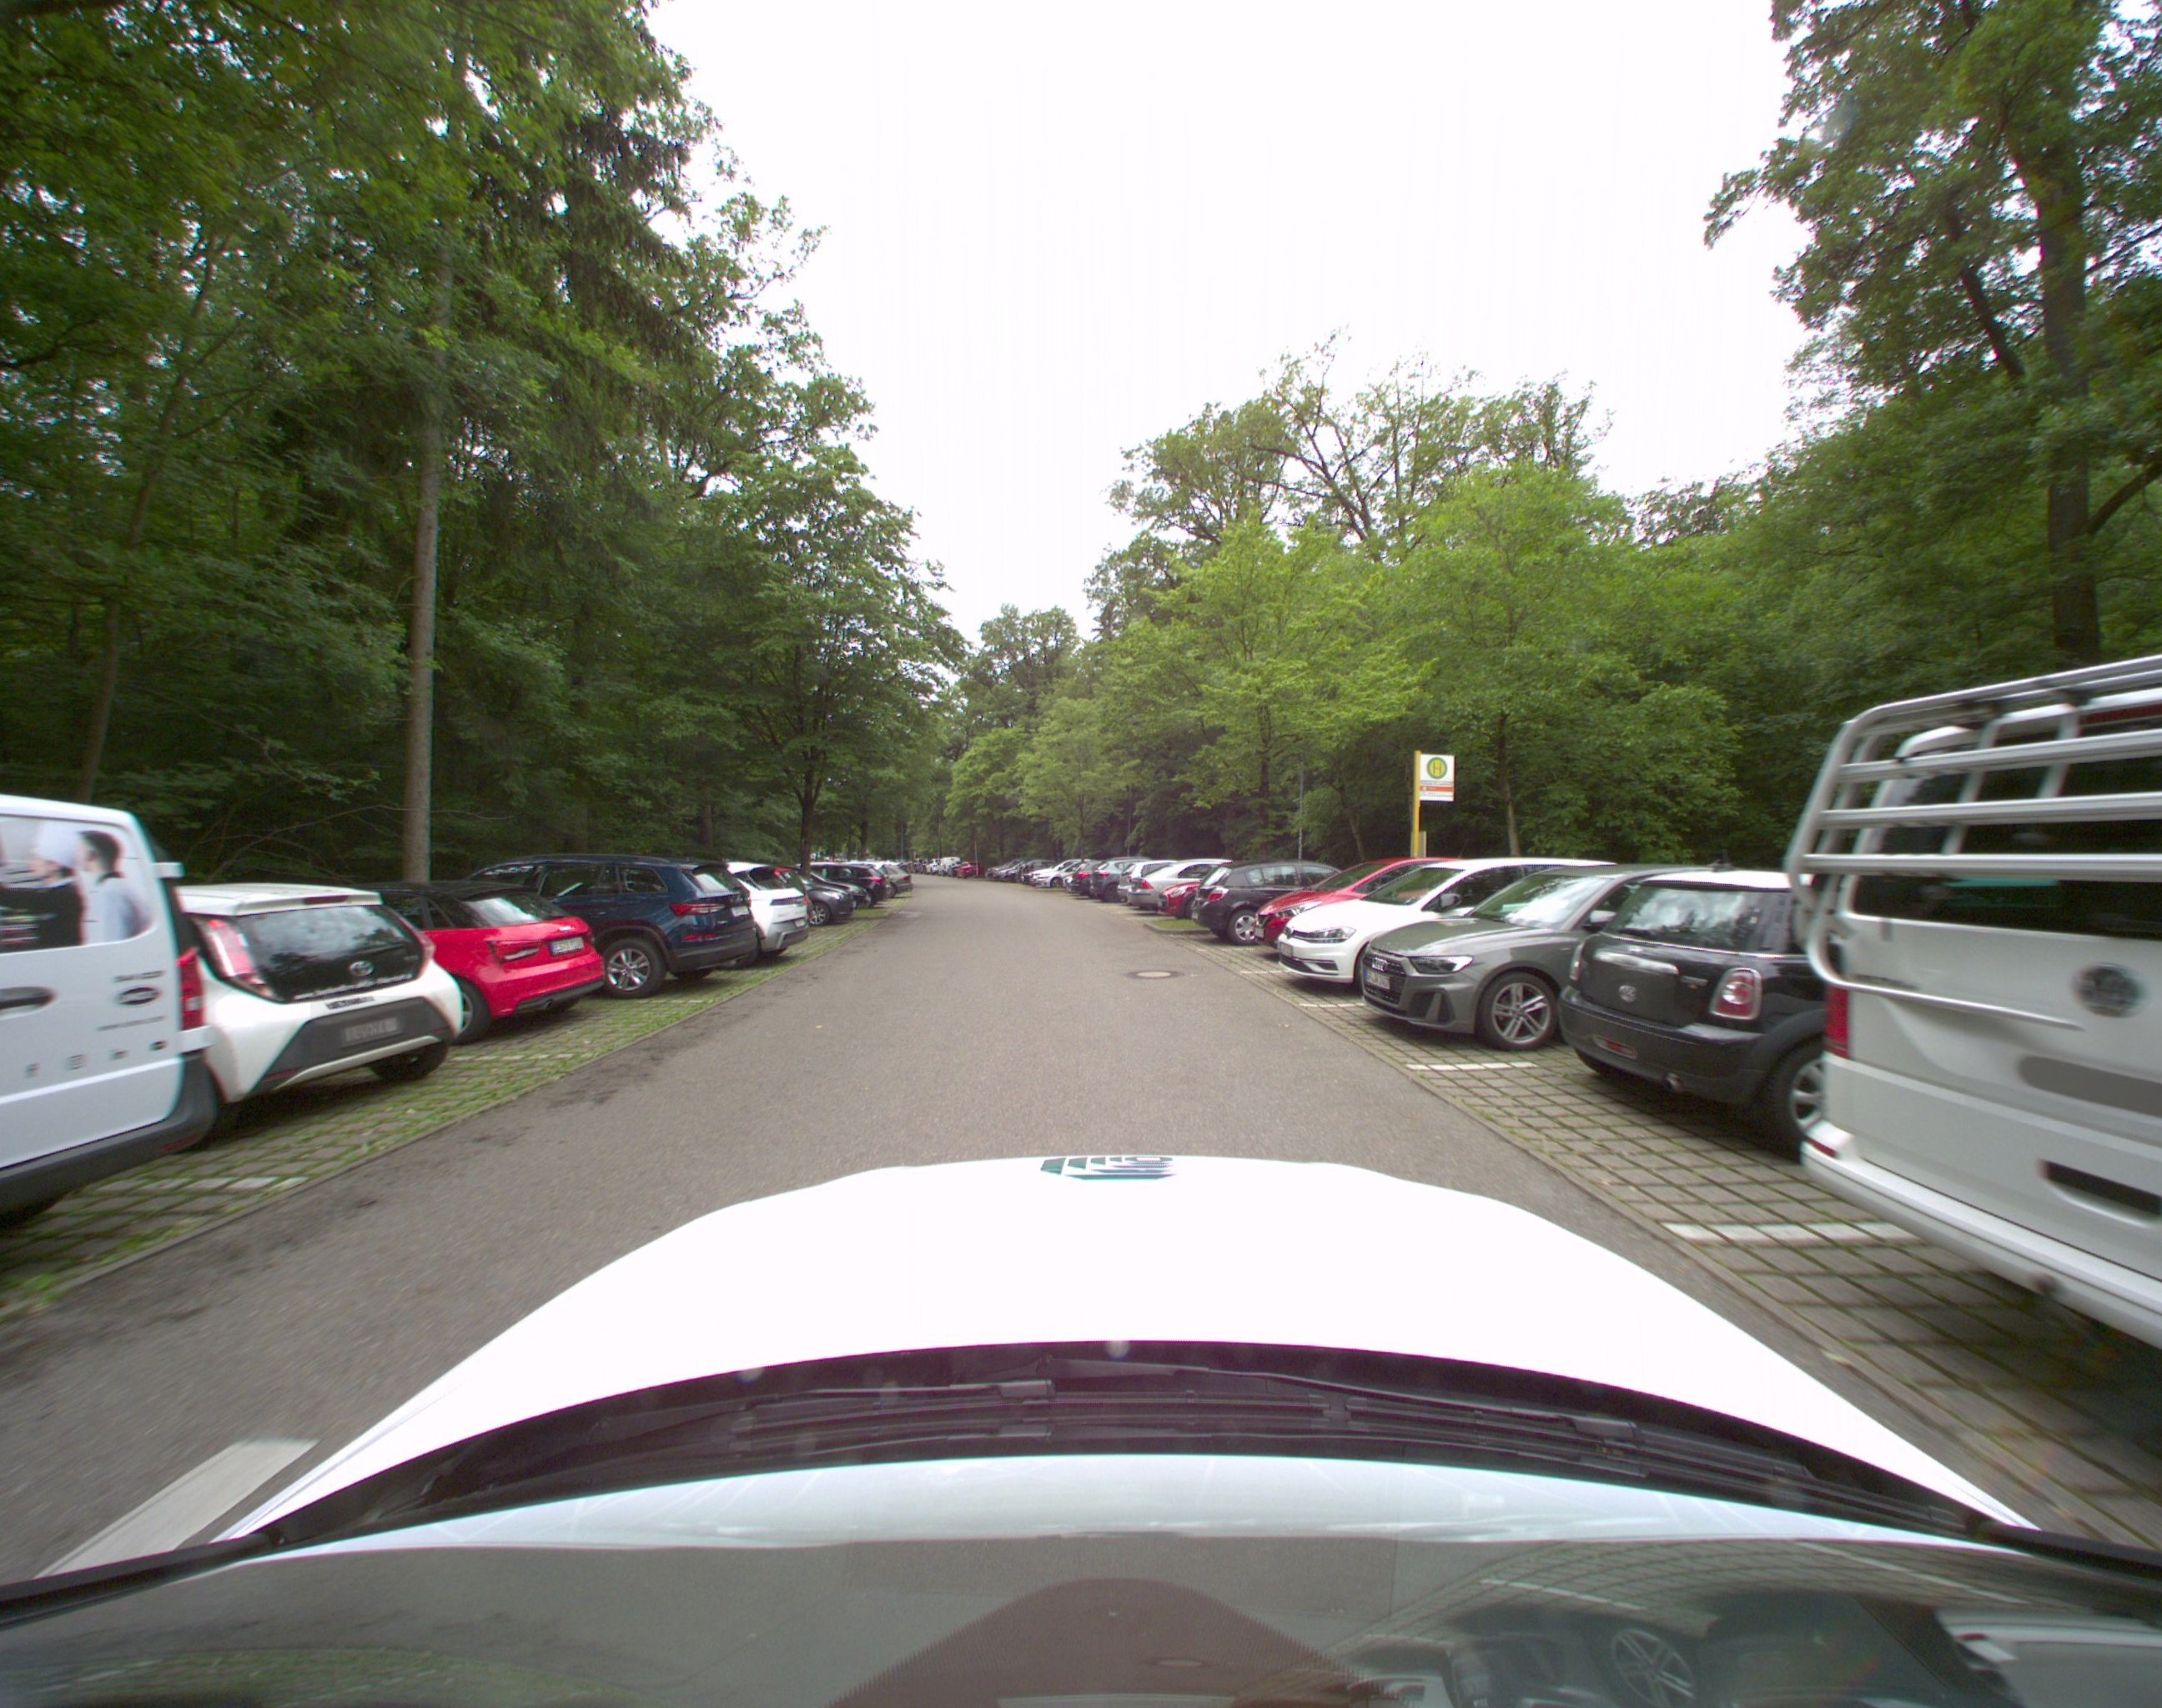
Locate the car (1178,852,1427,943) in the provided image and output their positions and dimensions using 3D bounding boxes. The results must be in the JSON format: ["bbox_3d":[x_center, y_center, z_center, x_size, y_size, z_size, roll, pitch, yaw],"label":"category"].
[{"bbox_3d":[3.923,0.737,14.855,3.980,1.483,1.919,-1,0,-5],"label":"car"}]

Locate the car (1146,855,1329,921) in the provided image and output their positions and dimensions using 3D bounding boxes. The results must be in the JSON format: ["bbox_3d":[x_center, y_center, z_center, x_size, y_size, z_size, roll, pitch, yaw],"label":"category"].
[{"bbox_3d":[3.757,0.778,19.914,3.985,1.450,1.935,-1,0,-9],"label":"car"}]

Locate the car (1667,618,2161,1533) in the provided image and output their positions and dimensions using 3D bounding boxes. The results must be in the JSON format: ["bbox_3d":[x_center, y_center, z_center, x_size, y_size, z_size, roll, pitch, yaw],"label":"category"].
[{"bbox_3d":[4.711,0.530,2.282,4.635,2.021,2.083,1,1,-1],"label":"car"}]

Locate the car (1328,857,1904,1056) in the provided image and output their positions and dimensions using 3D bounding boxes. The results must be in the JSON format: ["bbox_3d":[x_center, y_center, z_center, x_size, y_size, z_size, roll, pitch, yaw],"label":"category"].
[{"bbox_3d":[4.489,0.827,7.269,3.978,1.483,1.875,1,-1,-3],"label":"car"}]

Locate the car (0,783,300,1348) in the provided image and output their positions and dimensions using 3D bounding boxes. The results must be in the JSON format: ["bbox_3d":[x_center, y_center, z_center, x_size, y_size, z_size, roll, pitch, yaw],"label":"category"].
[{"bbox_3d":[-6.210,0.761,2.797,5.069,1.915,1.978,-1,0,0],"label":"car"}]

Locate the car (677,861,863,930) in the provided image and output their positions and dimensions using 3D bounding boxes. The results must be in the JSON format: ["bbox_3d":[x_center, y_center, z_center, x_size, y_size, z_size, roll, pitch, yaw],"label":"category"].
[{"bbox_3d":[-7.573,0.969,20.184,3.986,1.491,1.702,-1,0,-9],"label":"car"}]

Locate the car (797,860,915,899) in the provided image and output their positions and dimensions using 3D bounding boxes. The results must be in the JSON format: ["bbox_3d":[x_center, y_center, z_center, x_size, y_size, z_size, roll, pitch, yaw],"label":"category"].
[{"bbox_3d":[-9.404,1.039,34.474,4.643,1.478,2.086,-1,0,-12],"label":"car"}]

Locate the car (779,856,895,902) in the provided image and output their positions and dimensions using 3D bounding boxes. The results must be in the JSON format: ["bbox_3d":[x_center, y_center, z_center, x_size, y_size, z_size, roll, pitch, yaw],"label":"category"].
[{"bbox_3d":[-9.528,0.942,32.108,4.239,1.647,1.961,-1,0,-14],"label":"car"}]

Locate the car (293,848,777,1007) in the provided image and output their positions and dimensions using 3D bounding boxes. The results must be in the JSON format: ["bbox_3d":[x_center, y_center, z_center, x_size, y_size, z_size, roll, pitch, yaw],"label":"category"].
[{"bbox_3d":[-6.356,0.787,10.010,4.414,1.694,2.169,0,0,-3],"label":"car"}]

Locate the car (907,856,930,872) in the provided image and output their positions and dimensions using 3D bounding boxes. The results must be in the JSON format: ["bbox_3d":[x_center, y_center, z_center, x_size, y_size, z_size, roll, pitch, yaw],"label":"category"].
[{"bbox_3d":[-19.069,1.152,95.537,1.897,1.747,4.913,0,0,-21],"label":"car"}]

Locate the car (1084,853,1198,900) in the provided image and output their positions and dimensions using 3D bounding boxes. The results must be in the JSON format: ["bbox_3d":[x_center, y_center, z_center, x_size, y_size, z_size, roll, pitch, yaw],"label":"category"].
[{"bbox_3d":[2.111,0.793,29.415,3.768,1.589,1.943,0,0,-10],"label":"car"}]

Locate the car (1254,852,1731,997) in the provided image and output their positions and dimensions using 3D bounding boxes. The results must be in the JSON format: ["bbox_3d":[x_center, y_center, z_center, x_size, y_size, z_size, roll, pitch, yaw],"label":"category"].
[{"bbox_3d":[4.624,0.743,9.640,4.759,1.476,1.852,-1,1,-2],"label":"car"}]

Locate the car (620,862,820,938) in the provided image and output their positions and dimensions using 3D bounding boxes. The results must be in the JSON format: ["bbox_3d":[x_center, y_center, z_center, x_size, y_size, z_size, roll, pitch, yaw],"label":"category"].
[{"bbox_3d":[-7.736,0.959,17.729,3.601,1.474,1.671,-1,0,-5],"label":"car"}]

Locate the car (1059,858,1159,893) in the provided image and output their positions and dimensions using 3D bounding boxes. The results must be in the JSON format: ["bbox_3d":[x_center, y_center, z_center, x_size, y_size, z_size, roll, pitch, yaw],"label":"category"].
[{"bbox_3d":[1.165,0.887,34.820,3.935,1.411,1.870,0,0,-12],"label":"car"}]

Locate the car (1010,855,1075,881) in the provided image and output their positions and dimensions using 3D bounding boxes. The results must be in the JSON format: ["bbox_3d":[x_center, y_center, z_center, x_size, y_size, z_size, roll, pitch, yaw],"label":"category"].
[{"bbox_3d":[-2.460,0.849,51.891,3.835,1.531,1.841,-1,0,-16],"label":"car"}]

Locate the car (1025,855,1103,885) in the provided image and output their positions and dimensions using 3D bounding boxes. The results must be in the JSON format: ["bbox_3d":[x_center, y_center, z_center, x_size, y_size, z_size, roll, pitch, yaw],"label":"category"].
[{"bbox_3d":[-0.966,0.863,44.640,4.012,1.559,1.969,0,0,-12],"label":"car"}]

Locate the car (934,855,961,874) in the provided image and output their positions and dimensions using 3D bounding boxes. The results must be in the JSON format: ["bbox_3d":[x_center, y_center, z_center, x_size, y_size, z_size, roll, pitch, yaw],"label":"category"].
[{"bbox_3d":[-12.975,0.986,78.947,1.751,1.780,4.519,0,0,-21],"label":"car"}]

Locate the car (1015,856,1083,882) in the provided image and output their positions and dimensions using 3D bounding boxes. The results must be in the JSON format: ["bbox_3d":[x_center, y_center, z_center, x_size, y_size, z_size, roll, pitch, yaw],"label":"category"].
[{"bbox_3d":[-1.952,0.906,49.719,3.834,1.457,1.799,-1,-1,-15],"label":"car"}]

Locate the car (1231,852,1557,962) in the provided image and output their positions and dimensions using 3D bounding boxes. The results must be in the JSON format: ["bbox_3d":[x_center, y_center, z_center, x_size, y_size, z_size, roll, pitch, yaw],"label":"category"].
[{"bbox_3d":[4.590,0.732,12.341,4.221,1.480,1.916,0,0,-5],"label":"car"}]

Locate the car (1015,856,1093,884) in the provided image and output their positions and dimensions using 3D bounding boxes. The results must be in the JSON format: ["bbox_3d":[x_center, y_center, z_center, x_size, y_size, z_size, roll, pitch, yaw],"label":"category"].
[{"bbox_3d":[-1.597,0.920,47.080,4.197,1.512,1.882,0,0,-17],"label":"car"}]

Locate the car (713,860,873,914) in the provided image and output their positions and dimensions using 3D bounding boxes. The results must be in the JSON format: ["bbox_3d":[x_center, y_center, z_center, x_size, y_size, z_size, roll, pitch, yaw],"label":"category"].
[{"bbox_3d":[-8.471,0.952,24.295,4.232,1.473,1.715,-1,-1,-9],"label":"car"}]

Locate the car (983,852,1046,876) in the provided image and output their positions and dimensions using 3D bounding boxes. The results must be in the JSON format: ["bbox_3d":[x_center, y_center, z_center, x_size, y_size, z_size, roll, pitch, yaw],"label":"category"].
[{"bbox_3d":[-4.832,0.683,59.272,4.276,1.666,1.947,0,0,-17],"label":"car"}]

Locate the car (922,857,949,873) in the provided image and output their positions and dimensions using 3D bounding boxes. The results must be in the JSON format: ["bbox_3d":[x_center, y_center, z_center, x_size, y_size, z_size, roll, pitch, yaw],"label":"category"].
[{"bbox_3d":[-15.168,1.109,84.711,1.793,1.662,4.683,0,0,-22],"label":"car"}]

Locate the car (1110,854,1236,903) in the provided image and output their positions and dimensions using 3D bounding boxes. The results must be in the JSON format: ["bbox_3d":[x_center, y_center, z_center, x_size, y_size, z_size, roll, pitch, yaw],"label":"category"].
[{"bbox_3d":[3.016,0.783,27.080,3.844,1.546,1.724,-1,0,-11],"label":"car"}]

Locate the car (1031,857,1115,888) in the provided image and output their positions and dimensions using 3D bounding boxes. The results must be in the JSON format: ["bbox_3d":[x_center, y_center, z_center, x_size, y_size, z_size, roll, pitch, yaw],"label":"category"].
[{"bbox_3d":[-0.426,0.919,42.170,3.985,1.483,1.873,0,0,-17],"label":"car"}]

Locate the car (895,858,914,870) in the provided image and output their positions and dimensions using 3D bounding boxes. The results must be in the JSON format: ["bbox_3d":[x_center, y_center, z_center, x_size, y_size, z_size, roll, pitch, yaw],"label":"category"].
[{"bbox_3d":[-22.892,1.325,105.365,1.644,1.477,4.119,0,0,-23],"label":"car"}]

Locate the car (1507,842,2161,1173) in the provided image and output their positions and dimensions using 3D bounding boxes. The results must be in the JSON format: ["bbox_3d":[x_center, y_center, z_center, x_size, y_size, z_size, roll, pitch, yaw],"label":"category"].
[{"bbox_3d":[4.928,0.771,4.942,3.714,1.554,1.845,1,2,-3],"label":"car"}]

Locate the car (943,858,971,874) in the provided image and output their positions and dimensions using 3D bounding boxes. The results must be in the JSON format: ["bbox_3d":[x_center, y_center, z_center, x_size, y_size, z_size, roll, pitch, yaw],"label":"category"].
[{"bbox_3d":[-11.281,1.097,73.933,1.730,1.422,4.256,0,0,-19],"label":"car"}]

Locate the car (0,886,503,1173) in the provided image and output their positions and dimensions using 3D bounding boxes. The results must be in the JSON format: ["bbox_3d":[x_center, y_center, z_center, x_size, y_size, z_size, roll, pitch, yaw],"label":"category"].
[{"bbox_3d":[-6.080,1.049,5.413,3.213,1.466,1.656,-2,1,1],"label":"car"}]

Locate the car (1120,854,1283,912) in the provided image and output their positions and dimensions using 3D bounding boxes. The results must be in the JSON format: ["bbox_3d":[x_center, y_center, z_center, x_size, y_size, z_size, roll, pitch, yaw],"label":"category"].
[{"bbox_3d":[3.275,0.783,22.538,4.122,1.461,1.860,-1,-1,-7],"label":"car"}]

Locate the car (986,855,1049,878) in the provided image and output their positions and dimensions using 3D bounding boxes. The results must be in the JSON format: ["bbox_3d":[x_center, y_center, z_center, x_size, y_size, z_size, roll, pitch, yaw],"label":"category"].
[{"bbox_3d":[-4.422,0.860,56.790,4.003,1.551,1.961,0,0,-22],"label":"car"}]

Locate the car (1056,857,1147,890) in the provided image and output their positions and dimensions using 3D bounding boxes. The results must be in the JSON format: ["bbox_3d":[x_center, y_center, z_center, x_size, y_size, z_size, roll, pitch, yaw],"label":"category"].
[{"bbox_3d":[0.950,0.862,37.627,3.808,1.441,1.858,0,0,-21],"label":"car"}]

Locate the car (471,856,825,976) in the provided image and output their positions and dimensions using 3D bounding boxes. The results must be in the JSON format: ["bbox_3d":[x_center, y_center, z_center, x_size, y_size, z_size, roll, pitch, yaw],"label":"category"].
[{"bbox_3d":[-6.441,0.871,12.597,4.347,1.598,2.028,-1,0,-5],"label":"car"}]

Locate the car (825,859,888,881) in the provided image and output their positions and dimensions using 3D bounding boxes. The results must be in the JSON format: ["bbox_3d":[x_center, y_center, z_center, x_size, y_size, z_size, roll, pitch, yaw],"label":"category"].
[{"bbox_3d":[-16.707,1.184,60.592,4.382,1.486,1.878,-1,-1,-22],"label":"car"}]

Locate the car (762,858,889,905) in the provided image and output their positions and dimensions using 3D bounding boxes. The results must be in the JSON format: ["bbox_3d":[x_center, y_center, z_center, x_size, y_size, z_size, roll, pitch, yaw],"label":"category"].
[{"bbox_3d":[-9.196,0.960,29.634,4.237,1.533,1.755,-1,0,-13],"label":"car"}]

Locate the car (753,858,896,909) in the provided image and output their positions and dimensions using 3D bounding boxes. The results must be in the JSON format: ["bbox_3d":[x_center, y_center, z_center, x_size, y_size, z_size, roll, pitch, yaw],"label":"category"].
[{"bbox_3d":[-8.416,0.940,27.054,4.231,1.530,2.001,-1,0,-9],"label":"car"}]

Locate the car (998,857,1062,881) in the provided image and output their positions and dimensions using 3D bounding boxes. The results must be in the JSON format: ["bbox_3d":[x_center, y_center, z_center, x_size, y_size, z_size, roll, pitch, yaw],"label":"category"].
[{"bbox_3d":[-3.428,0.982,54.430,3.995,1.475,1.942,0,0,-16],"label":"car"}]

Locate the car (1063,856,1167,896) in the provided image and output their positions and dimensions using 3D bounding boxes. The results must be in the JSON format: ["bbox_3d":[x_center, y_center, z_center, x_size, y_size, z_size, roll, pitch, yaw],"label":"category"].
[{"bbox_3d":[1.316,0.851,32.178,3.773,1.481,1.765,0,0,-14],"label":"car"}]

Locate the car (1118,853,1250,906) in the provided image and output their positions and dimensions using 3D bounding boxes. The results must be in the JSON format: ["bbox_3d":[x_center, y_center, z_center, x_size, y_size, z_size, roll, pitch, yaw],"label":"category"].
[{"bbox_3d":[3.104,0.768,24.913,3.700,1.511,1.746,-1,-1,-9],"label":"car"}]

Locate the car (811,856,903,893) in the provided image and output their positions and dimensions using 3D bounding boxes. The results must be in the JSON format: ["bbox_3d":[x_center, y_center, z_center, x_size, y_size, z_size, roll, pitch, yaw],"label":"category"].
[{"bbox_3d":[-10.782,0.971,39.461,3.954,1.628,1.995,-1,0,-5],"label":"car"}]

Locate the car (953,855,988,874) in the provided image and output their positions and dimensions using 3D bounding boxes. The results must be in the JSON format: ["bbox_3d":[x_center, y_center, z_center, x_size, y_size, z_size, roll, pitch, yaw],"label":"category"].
[{"bbox_3d":[-9.361,0.849,68.676,1.999,1.479,4.940,0,0,-19],"label":"car"}]

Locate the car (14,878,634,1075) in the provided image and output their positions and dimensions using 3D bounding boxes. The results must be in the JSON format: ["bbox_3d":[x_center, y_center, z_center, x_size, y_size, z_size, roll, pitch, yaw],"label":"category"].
[{"bbox_3d":[-6.770,1.030,7.723,3.980,1.445,1.820,-1,0,-5],"label":"car"}]
